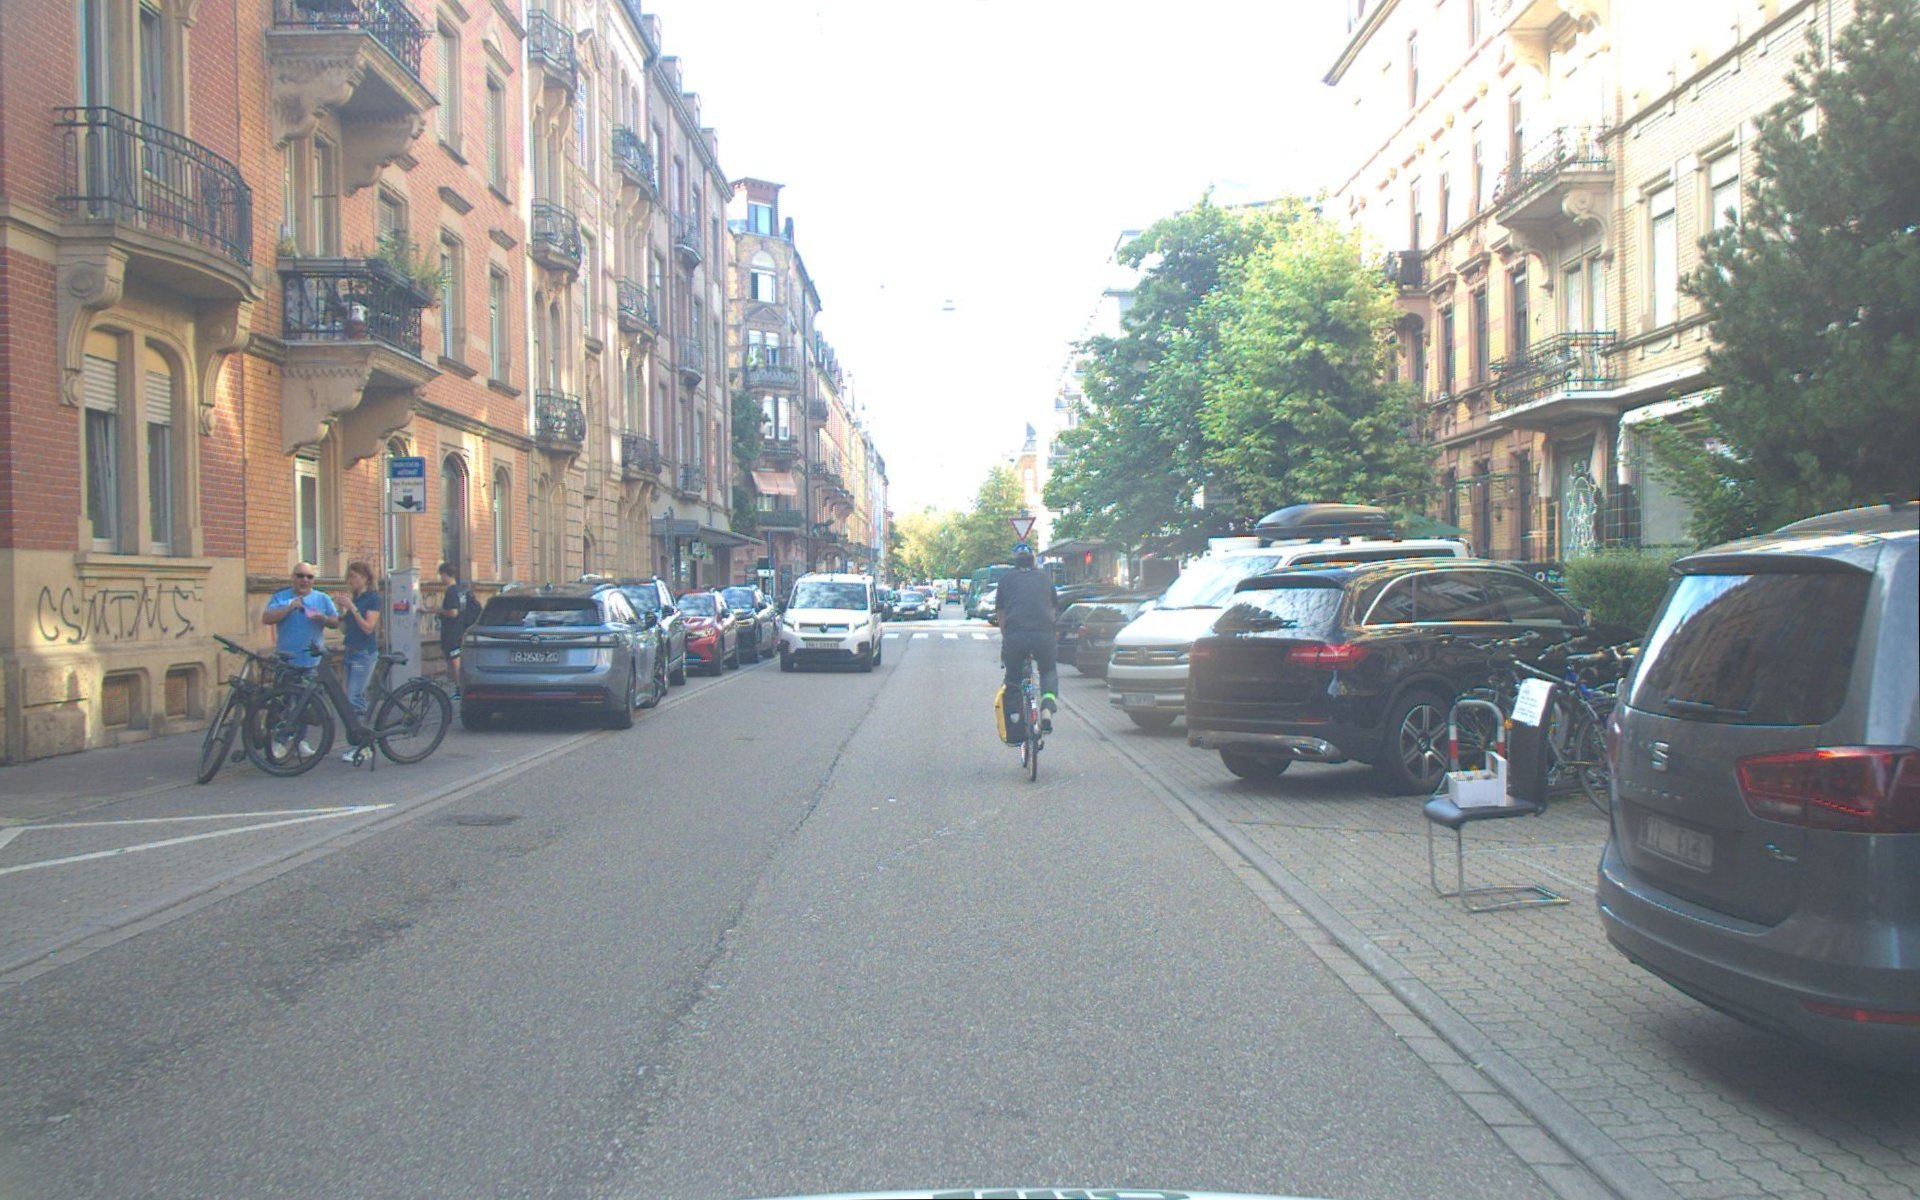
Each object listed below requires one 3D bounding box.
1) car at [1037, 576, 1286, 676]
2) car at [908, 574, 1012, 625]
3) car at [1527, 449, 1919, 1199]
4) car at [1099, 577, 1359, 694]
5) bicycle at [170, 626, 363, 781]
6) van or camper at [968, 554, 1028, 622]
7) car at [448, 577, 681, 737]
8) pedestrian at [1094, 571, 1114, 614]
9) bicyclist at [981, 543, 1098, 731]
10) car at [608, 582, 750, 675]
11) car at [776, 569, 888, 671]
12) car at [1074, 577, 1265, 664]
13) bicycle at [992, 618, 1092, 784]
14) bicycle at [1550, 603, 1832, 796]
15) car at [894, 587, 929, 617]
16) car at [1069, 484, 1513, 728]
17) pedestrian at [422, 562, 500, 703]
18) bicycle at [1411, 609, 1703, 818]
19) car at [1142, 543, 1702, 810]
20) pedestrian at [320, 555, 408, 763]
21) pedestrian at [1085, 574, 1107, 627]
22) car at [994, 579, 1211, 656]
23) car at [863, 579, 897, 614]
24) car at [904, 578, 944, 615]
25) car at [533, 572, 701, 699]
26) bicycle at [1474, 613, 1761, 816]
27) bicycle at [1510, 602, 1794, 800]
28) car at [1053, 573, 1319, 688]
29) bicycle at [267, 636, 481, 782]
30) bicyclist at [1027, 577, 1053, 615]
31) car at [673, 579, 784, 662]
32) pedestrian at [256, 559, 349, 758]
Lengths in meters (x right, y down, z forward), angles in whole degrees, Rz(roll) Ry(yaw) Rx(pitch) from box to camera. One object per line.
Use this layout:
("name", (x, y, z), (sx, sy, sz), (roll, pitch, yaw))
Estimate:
("car", (3.726, 0.434, 30.252), (4.419, 1.489, 1.856), (-4, 2, -36))
("car", (-0.034, -0.031, 63.140), (3.906, 1.914, 1.999), (0, 0, -2))
("car", (4.308, 0.379, 4.949), (4.544, 1.815, 1.810), (-4, 2, -2))
("car", (4.060, 0.475, 24.619), (3.961, 1.484, 1.724), (-3, 1, -42))
("bicycle", (-5.497, 0.783, 13.236), (0.482, 1.114, 1.906), (1, 0, 8))
("van or camper", (1.765, -0.564, 77.873), (2.481, 3.090, 4.456), (-1, 0, -3))
("car", (-4.425, 0.556, 19.279), (1.789, 1.606, 5.259), (0, 0, -4))
("pedestrian", (6.530, -0.341, 74.906), (0.850, 1.883, 0.613), (-1, 0, 5))
("bicyclist", (0.648, 0.293, 13.691), (0.914, 1.510, 0.747), (0, 0, -1))
("car", (-5.115, 0.487, 30.663), (1.953, 1.572, 4.425), (-1, 0, -1))
("car", (-2.445, 0.355, 32.590), (1.878, 1.860, 4.438), (0, 0, 0))
("car", (4.227, 0.377, 33.138), (3.684, 1.511, 1.717), (-3, 2, -39))
("bicycle", (0.636, 0.771, 13.604), (0.652, 1.198, 2.496), (0, 0, -1))
("bicycle", (4.948, 0.639, 11.325), (0.400, 1.203, 1.848), (-2, 0, -31))
("car", (-2.402, 0.118, 81.361), (1.715, 1.461, 4.210), (0, 0, -2))
("car", (3.850, -0.009, 18.820), (5.098, 2.447, 1.895), (-2, 0, -34))
("pedestrian", (-6.672, 0.424, 22.135), (0.740, 1.839, 0.863), (0, 0, 3))
("bicycle", (3.744, 0.669, 10.542), (0.400, 1.203, 1.897), (-2, 0, -31))
("car", (3.721, 0.476, 13.032), (4.408, 1.762, 1.975), (-1, 1, -36))
("pedestrian", (-5.162, 0.493, 14.321), (0.559, 1.739, 0.659), (0, 0, -36))
("pedestrian", (4.662, 0.012, 56.571), (0.615, 1.769, 0.776), (-1, 0, 12))
("car", (3.349, 0.364, 38.668), (4.701, 1.482, 2.037), (-4, 2, -29))
("car", (-4.905, -0.217, 101.630), (1.954, 2.049, 3.998), (-2, 0, -3))
("car", (-1.972, -0.222, 90.816), (1.902, 1.752, 4.851), (-2, 2, 1))
("car", (-5.040, 0.443, 24.927), (1.836, 1.710, 4.891), (0, 1, -4))
("bicycle", (4.231, 0.694, 10.788), (0.400, 1.203, 1.848), (-2, 0, -31))
("bicycle", (4.574, 0.630, 11.078), (0.400, 1.203, 1.848), (-2, 0, -31))
("car", (3.793, 0.452, 27.350), (4.429, 1.502, 1.862), (-5, 3, -41))
("bicycle", (-4.759, 0.851, 13.566), (0.472, 1.078, 1.904), (1, 0, 23))
("bicyclist", (3.532, -0.186, 73.188), (0.839, 1.694, 0.788), (1, 0, 33))
("car", (-4.978, 0.419, 36.137), (1.754, 1.657, 4.847), (-1, 0, 0))
("pedestrian", (-5.742, 0.494, 14.442), (0.672, 1.690, 0.545), (0, 0, -31))
